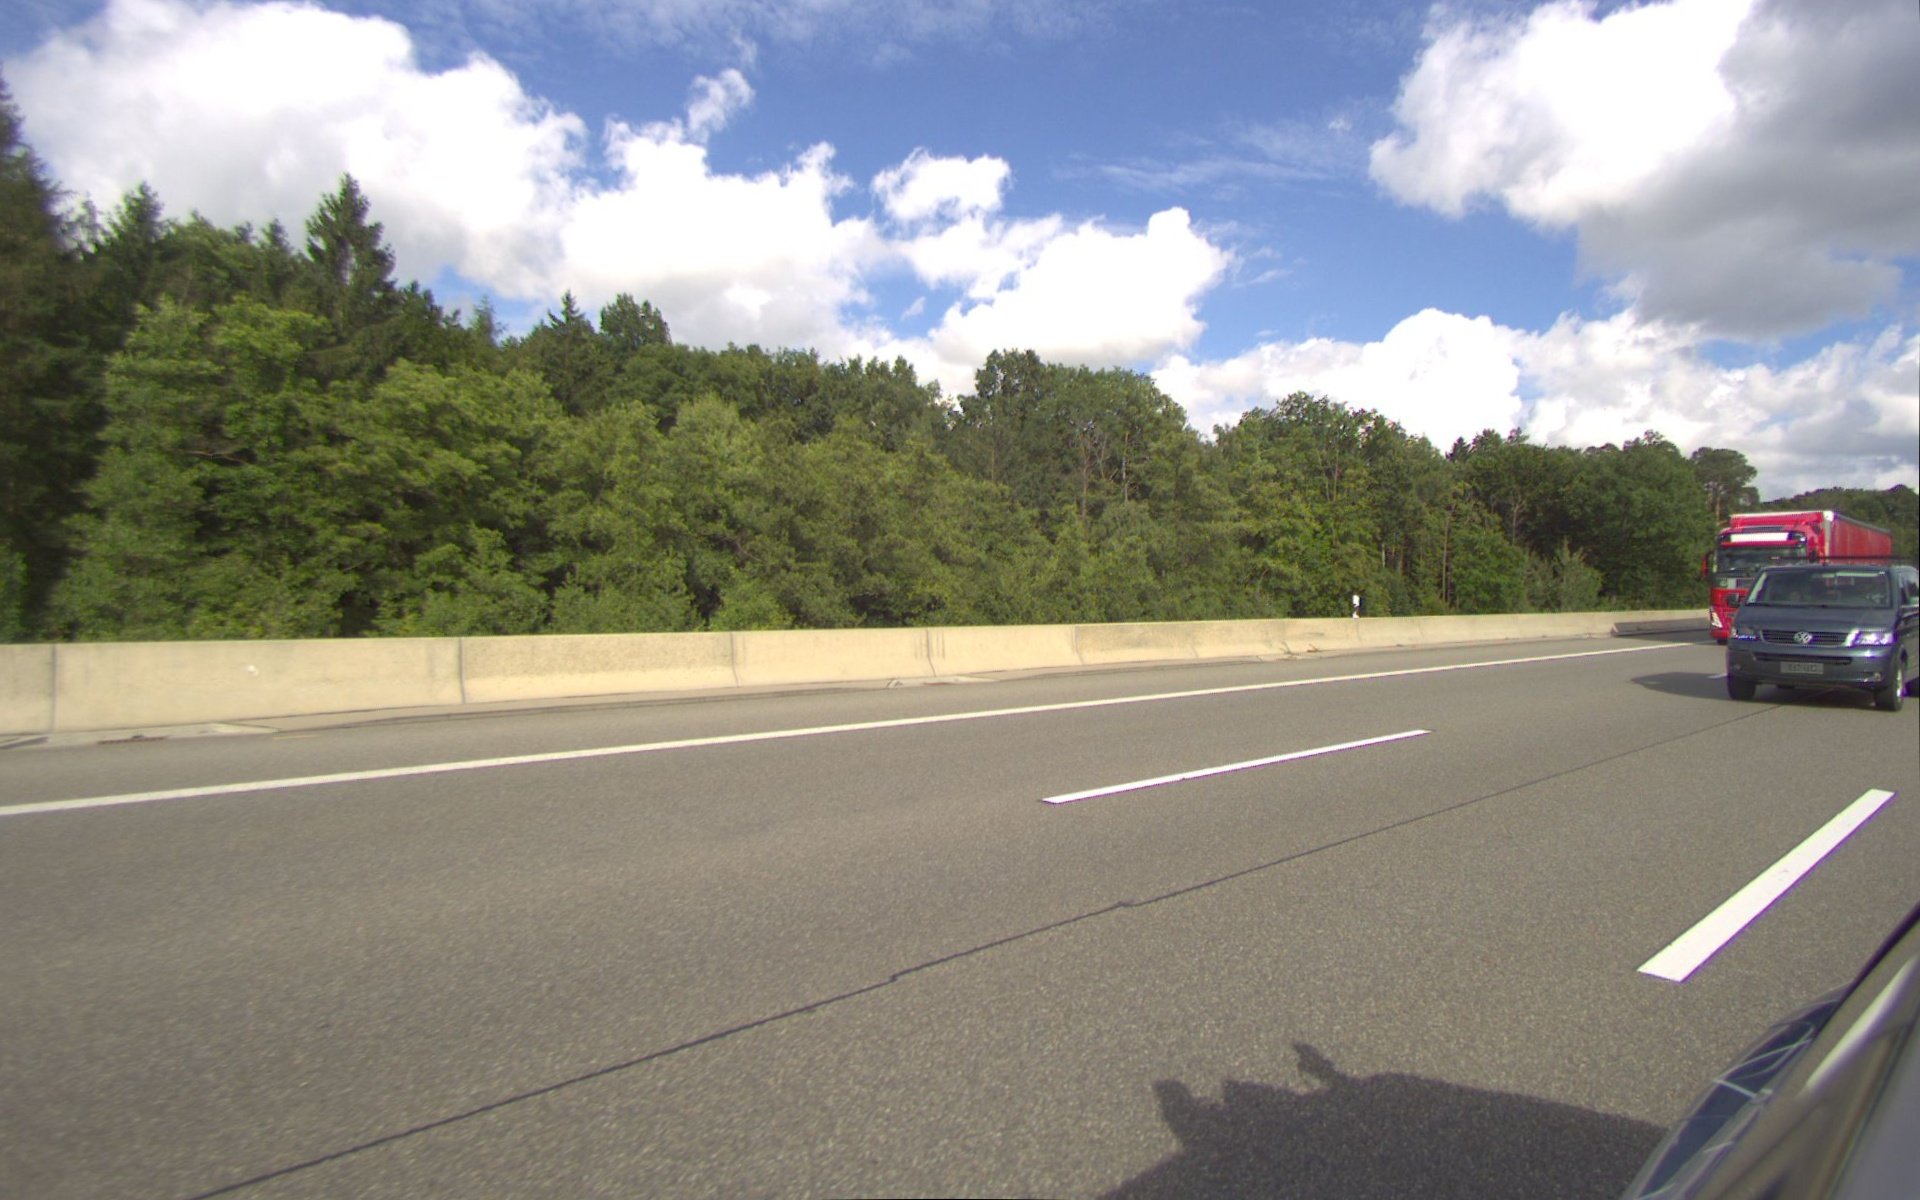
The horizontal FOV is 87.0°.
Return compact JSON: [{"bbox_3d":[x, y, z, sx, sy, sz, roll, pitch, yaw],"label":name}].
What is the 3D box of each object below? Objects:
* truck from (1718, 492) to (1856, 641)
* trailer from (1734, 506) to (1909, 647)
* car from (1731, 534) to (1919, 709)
[{"bbox_3d":[25.593,-0.994,31.269,4.572,4.255,2.530,0,1,-41],"label":"truck"},{"bbox_3d":[30.647,-0.779,35.635,14.125,4.171,2.529,-1,1,-41],"label":"trailer"},{"bbox_3d":[13.232,0.258,15.036,4.875,2.193,1.925,0,1,-42],"label":"car"}]
